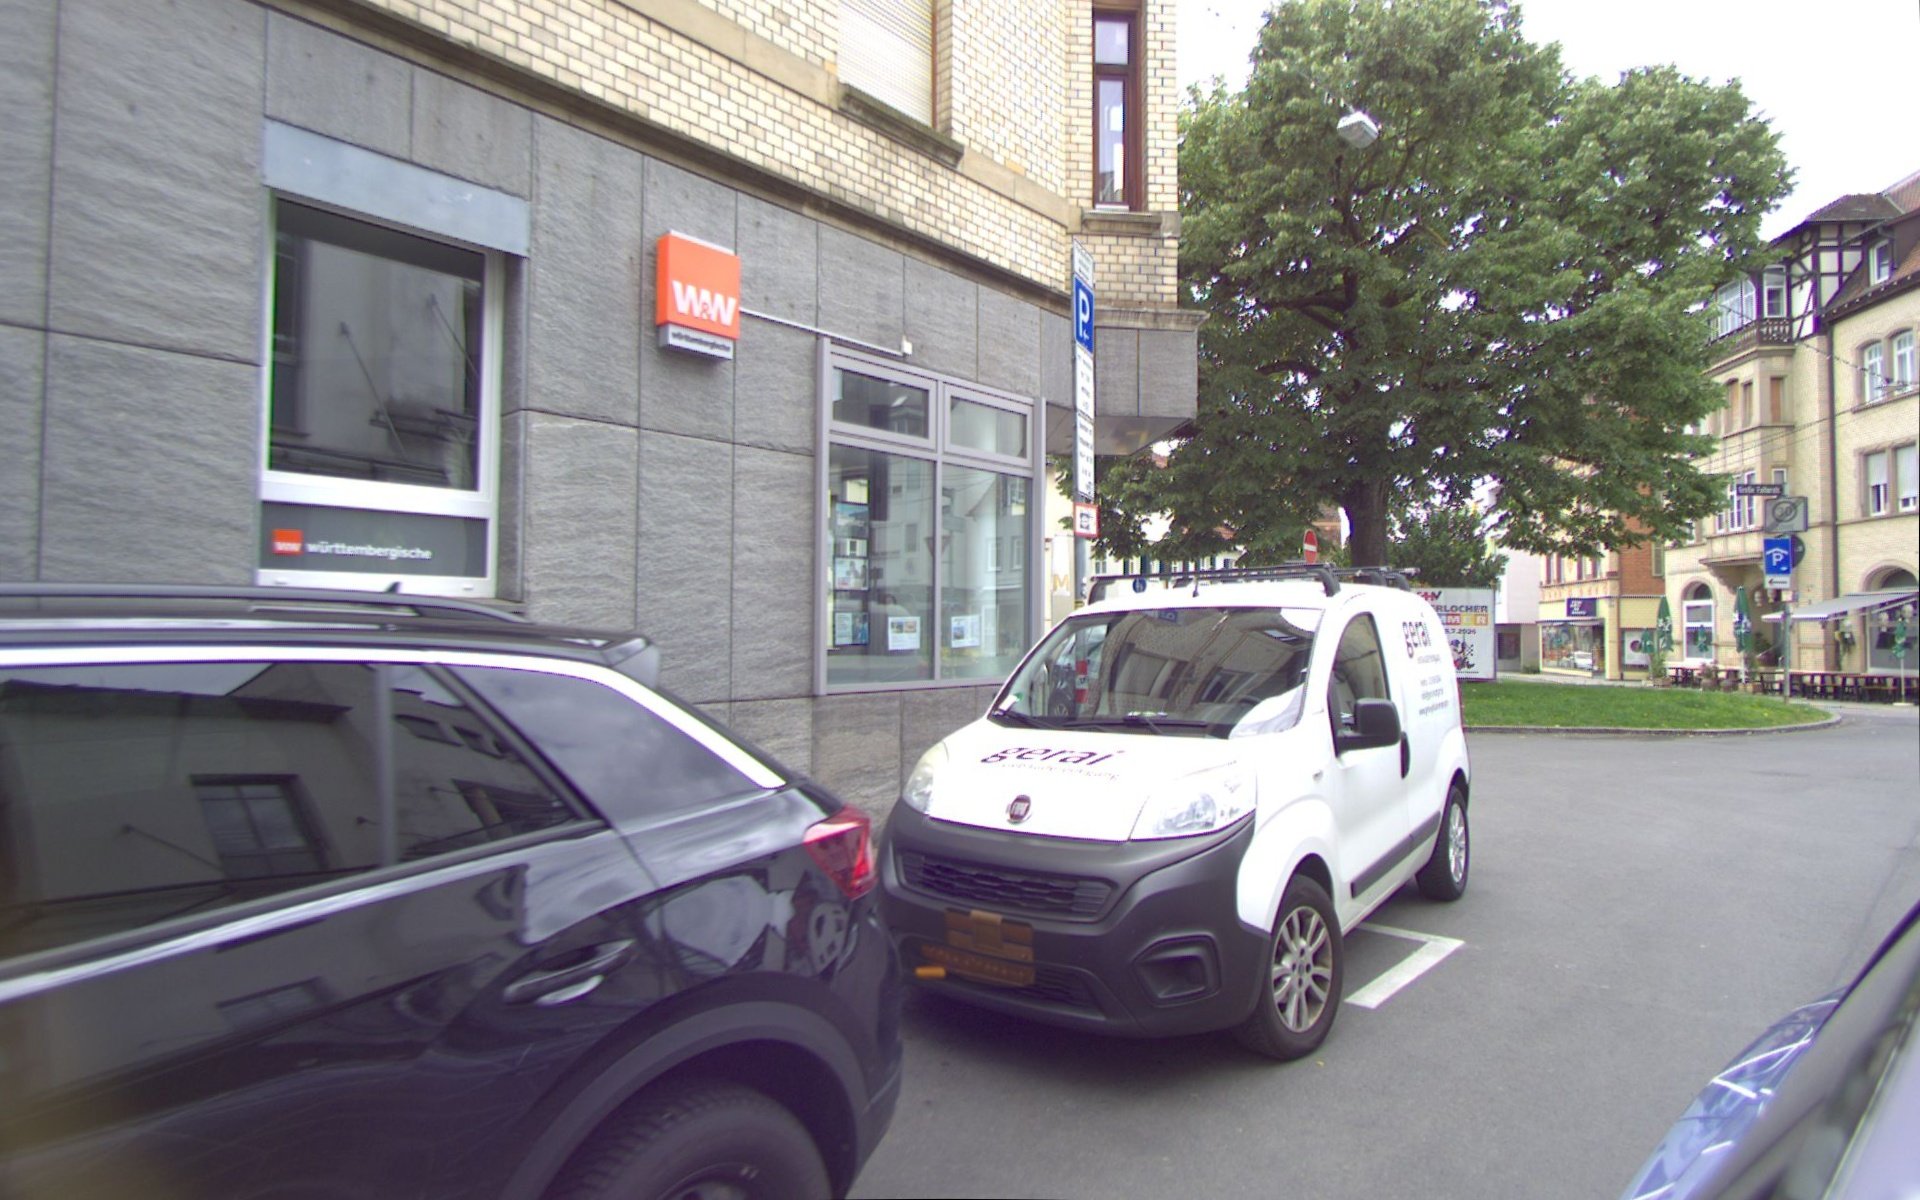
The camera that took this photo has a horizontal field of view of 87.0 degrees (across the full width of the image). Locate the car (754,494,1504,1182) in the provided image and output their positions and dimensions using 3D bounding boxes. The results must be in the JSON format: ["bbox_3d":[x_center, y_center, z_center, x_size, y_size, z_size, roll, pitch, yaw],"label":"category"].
[{"bbox_3d":[1.201,0.688,4.910,1.821,1.815,4.159,-2,-3,38],"label":"car"}]

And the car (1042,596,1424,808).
[{"bbox_3d":[2.541,0.981,10.535,1.693,1.726,4.001,-1,-4,-22],"label":"car"}]

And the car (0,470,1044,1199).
[{"bbox_3d":[-1.909,0.703,1.195,1.784,1.621,4.477,-2,-2,39],"label":"car"}]
